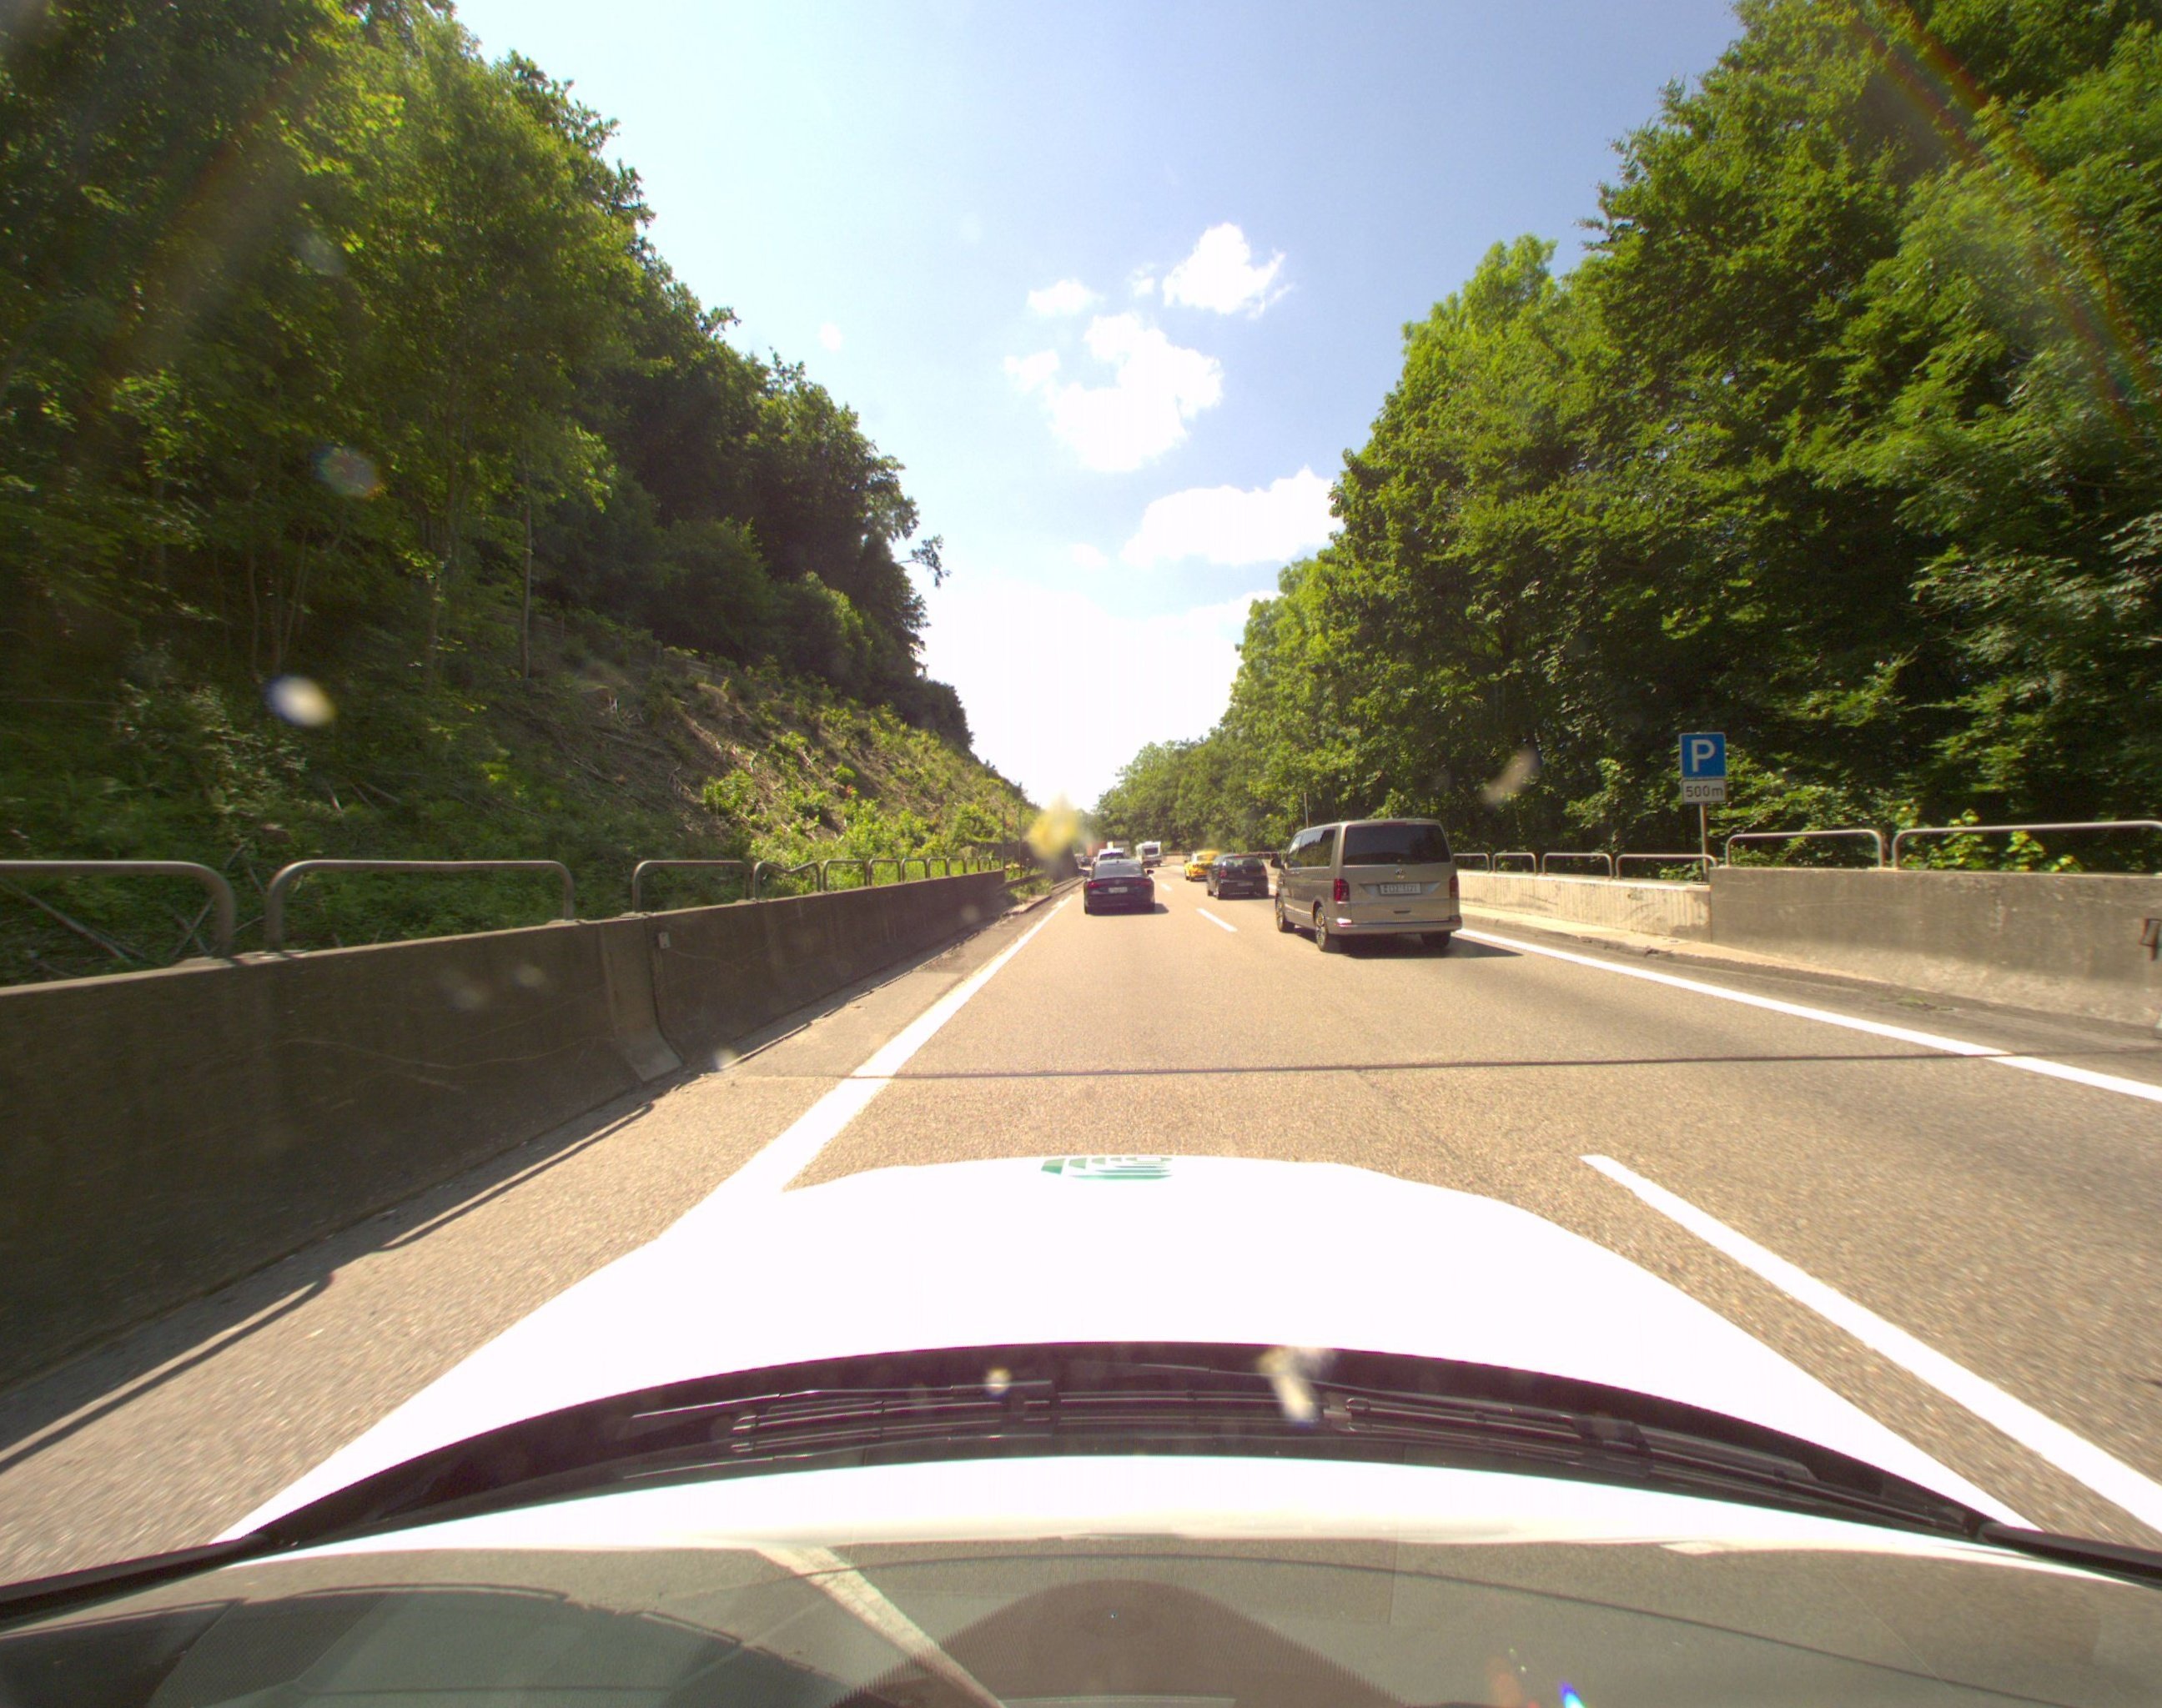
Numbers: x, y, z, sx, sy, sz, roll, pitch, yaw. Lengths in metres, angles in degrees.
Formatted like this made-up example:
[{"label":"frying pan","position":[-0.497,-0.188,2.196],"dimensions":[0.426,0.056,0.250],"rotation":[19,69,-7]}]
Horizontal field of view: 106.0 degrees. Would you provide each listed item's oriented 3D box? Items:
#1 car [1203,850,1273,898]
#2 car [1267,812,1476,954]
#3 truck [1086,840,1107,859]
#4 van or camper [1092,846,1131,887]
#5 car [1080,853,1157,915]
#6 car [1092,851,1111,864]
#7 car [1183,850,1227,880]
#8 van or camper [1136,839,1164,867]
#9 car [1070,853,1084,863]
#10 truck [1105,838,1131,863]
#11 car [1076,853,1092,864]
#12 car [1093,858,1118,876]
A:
[{"label":"car","position":[5.120,0.620,27.029],"dimensions":[1.678,1.458,4.002],"rotation":[-1,0,2]},{"label":"car","position":[4.555,0.402,13.614],"dimensions":[1.933,1.931,4.696],"rotation":[-1,0,2]},{"label":"truck","position":[2.706,-0.772,145.895],"dimensions":[3.157,3.468,8.211],"rotation":[0,0,-3]},{"label":"van or camper","position":[1.580,0.599,41.299],"dimensions":[1.846,1.942,4.168],"rotation":[0,0,3]},{"label":"car","position":[0.968,0.759,22.861],"dimensions":[1.899,1.489,4.378],"rotation":[-2,0,0]},{"label":"car","position":[2.672,0.403,106.251],"dimensions":[1.990,1.618,3.993],"rotation":[-1,0,-5]},{"label":"car","position":[6.366,0.531,42.109],"dimensions":[1.801,1.478,4.084],"rotation":[0,0,3]},{"label":"van or camper","position":[7.446,-0.080,88.347],"dimensions":[2.594,2.855,6.336],"rotation":[-1,0,1]},{"label":"car","position":[-0.714,0.709,135.589],"dimensions":[1.750,1.571,3.760],"rotation":[-1,0,-8]},{"label":"truck","position":[5.590,-0.530,123.650],"dimensions":[2.921,3.687,7.708],"rotation":[0,0,-6]},{"label":"car","position":[0.417,0.604,121.971],"dimensions":[1.750,1.571,3.759],"rotation":[-1,0,-9]},{"label":"car","position":[2.137,1.136,72.583],"dimensions":[1.891,1.584,3.766],"rotation":[-1,0,-3]}]
